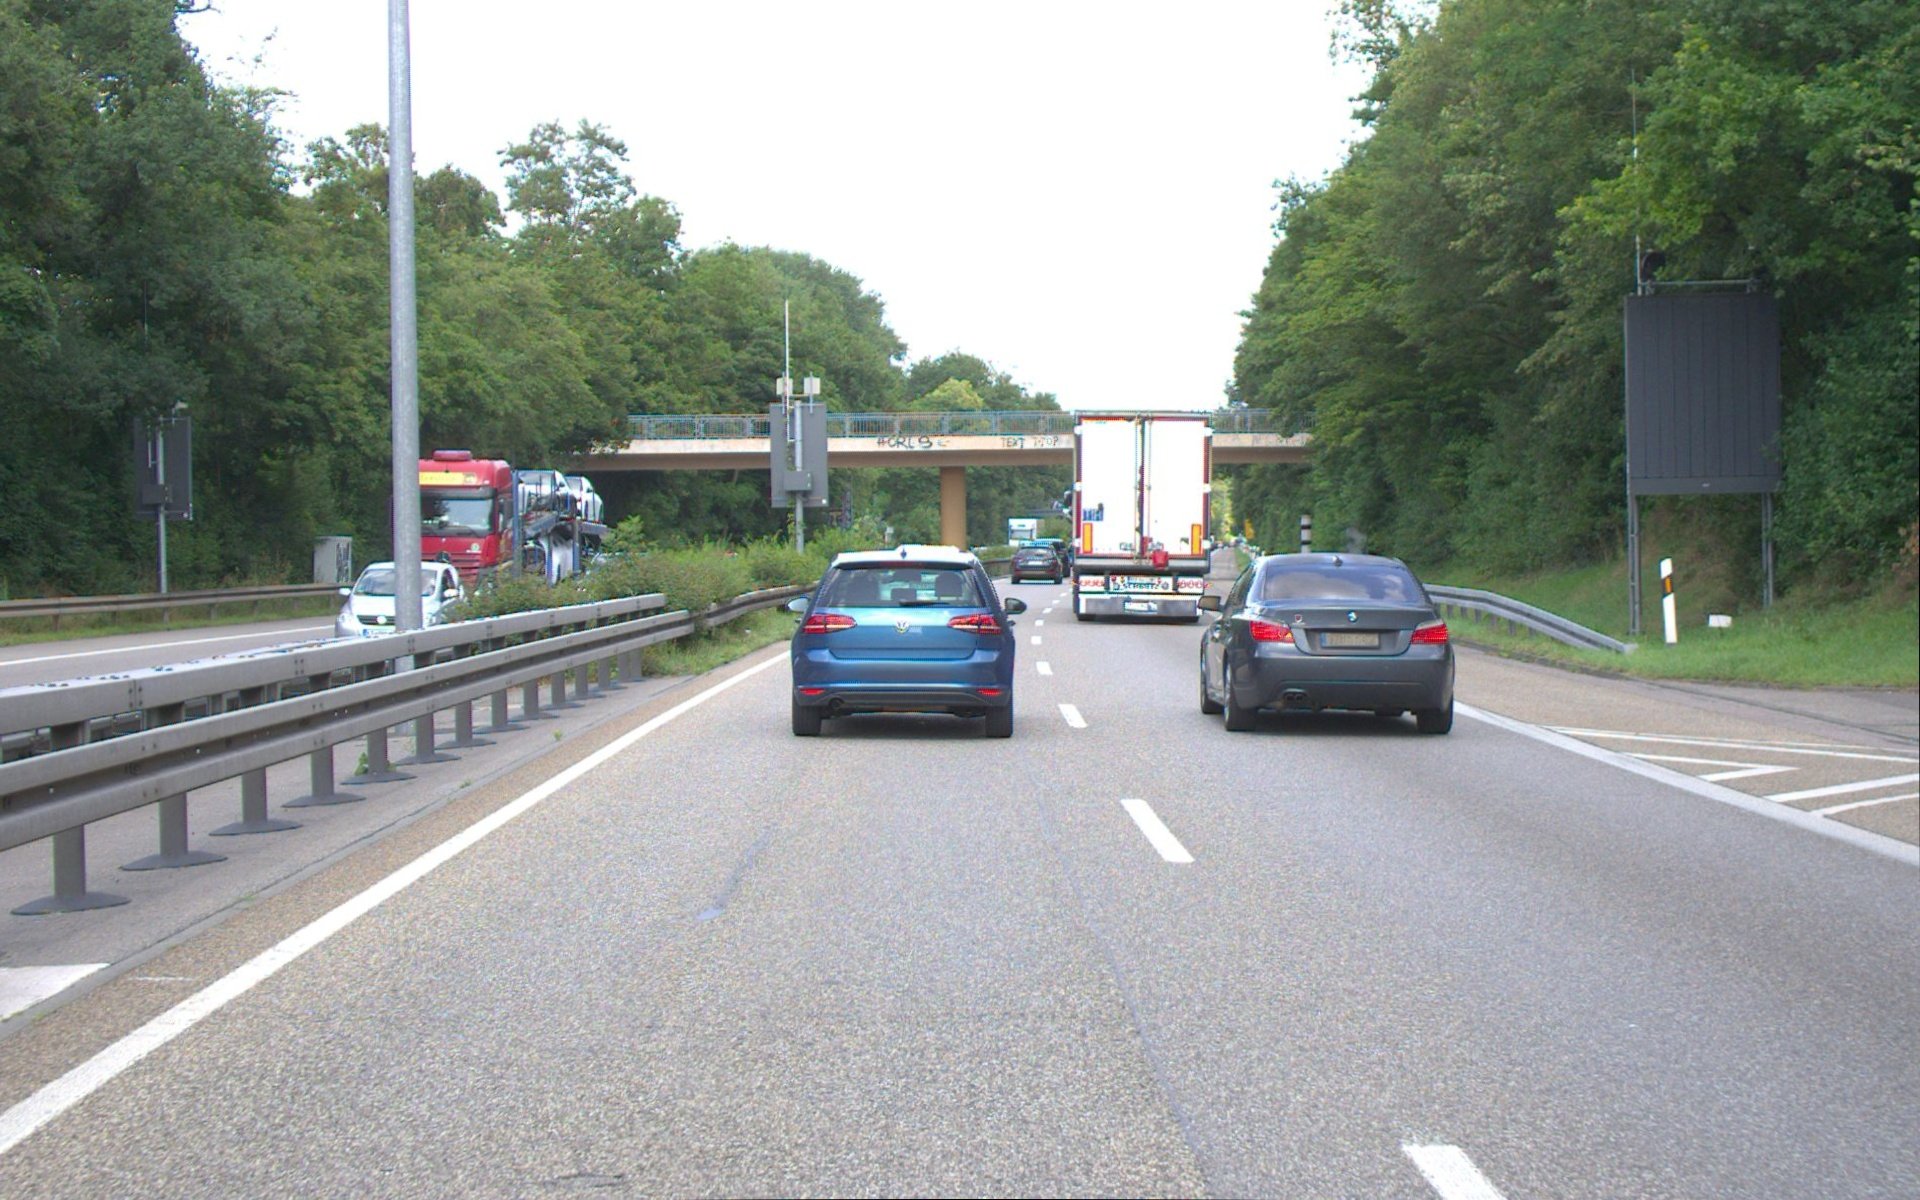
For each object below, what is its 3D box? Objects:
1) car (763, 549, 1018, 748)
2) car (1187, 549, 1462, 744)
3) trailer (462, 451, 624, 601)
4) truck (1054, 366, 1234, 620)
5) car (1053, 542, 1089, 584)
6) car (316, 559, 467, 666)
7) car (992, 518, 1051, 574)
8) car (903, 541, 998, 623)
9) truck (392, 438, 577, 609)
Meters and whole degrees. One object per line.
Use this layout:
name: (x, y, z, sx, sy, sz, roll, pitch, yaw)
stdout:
car: (-0.495, 0.335, 27.962, 1.705, 1.465, 4.000, 1, 1, 4)
car: (2.983, 0.321, 29.072, 1.774, 1.470, 4.880, 1, 1, 0)
trailer: (-11.292, -2.007, 94.081, 2.938, 3.820, 10.310, -1, 1, 1)
truck: (3.584, -2.117, 69.679, 3.242, 4.700, 11.007, -1, 1, 1)
car: (6.332, -2.099, 195.117, 1.993, 2.319, 4.442, -1, 1, 2)
car: (-8.827, 0.169, 53.652, 1.706, 1.563, 4.032, -1, 1, -1)
car: (2.294, -2.000, 127.466, 1.954, 2.007, 4.000, -1, 1, 4)
car: (-0.152, -0.368, 65.946, 1.665, 1.495, 4.152, 0, 1, 2)
truck: (-11.458, -1.836, 83.828, 2.955, 3.842, 10.324, -1, 1, 0)
